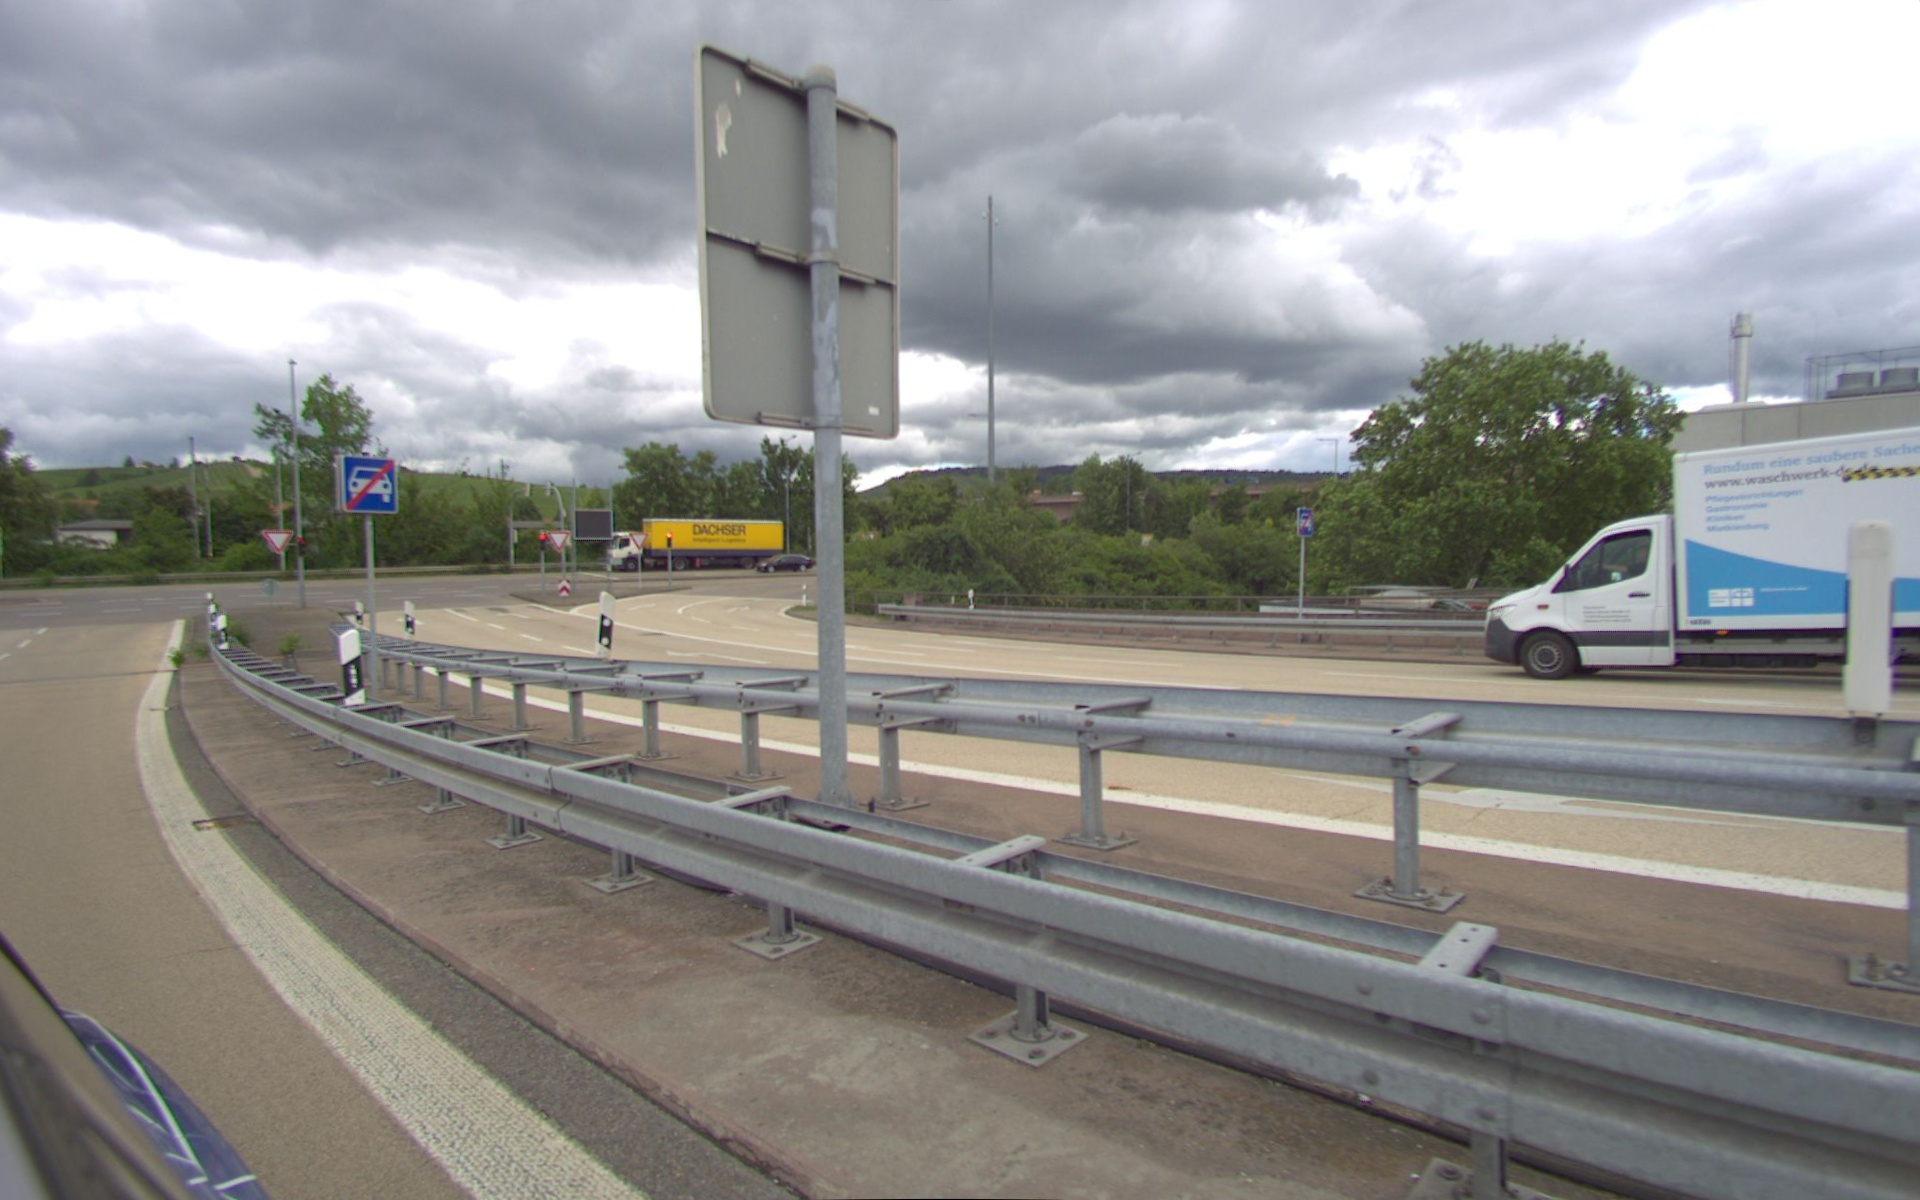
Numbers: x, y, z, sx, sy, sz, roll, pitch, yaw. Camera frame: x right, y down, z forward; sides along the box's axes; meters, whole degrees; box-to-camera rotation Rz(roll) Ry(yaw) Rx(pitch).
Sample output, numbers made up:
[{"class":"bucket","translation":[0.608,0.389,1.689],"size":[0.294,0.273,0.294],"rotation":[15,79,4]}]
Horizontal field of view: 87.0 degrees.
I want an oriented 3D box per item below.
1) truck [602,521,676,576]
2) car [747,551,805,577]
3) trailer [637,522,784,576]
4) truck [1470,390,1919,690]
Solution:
[{"class":"truck","translation":[-25.396,-4.099,80.138],"size":[5.016,4.235,2.643],"rotation":[-3,4,-32]},{"class":"car","translation":[-14.315,-2.827,78.937],"size":[4.058,1.673,1.633],"rotation":[-6,8,-34]},{"class":"trailer","translation":[-20.374,-4.307,83.339],"size":[11.460,4.235,2.643],"rotation":[-3,4,-32]},{"class":"truck","translation":[10.516,-0.631,12.712],"size":[2.318,3.288,6.999],"rotation":[2,-2,-44]}]
